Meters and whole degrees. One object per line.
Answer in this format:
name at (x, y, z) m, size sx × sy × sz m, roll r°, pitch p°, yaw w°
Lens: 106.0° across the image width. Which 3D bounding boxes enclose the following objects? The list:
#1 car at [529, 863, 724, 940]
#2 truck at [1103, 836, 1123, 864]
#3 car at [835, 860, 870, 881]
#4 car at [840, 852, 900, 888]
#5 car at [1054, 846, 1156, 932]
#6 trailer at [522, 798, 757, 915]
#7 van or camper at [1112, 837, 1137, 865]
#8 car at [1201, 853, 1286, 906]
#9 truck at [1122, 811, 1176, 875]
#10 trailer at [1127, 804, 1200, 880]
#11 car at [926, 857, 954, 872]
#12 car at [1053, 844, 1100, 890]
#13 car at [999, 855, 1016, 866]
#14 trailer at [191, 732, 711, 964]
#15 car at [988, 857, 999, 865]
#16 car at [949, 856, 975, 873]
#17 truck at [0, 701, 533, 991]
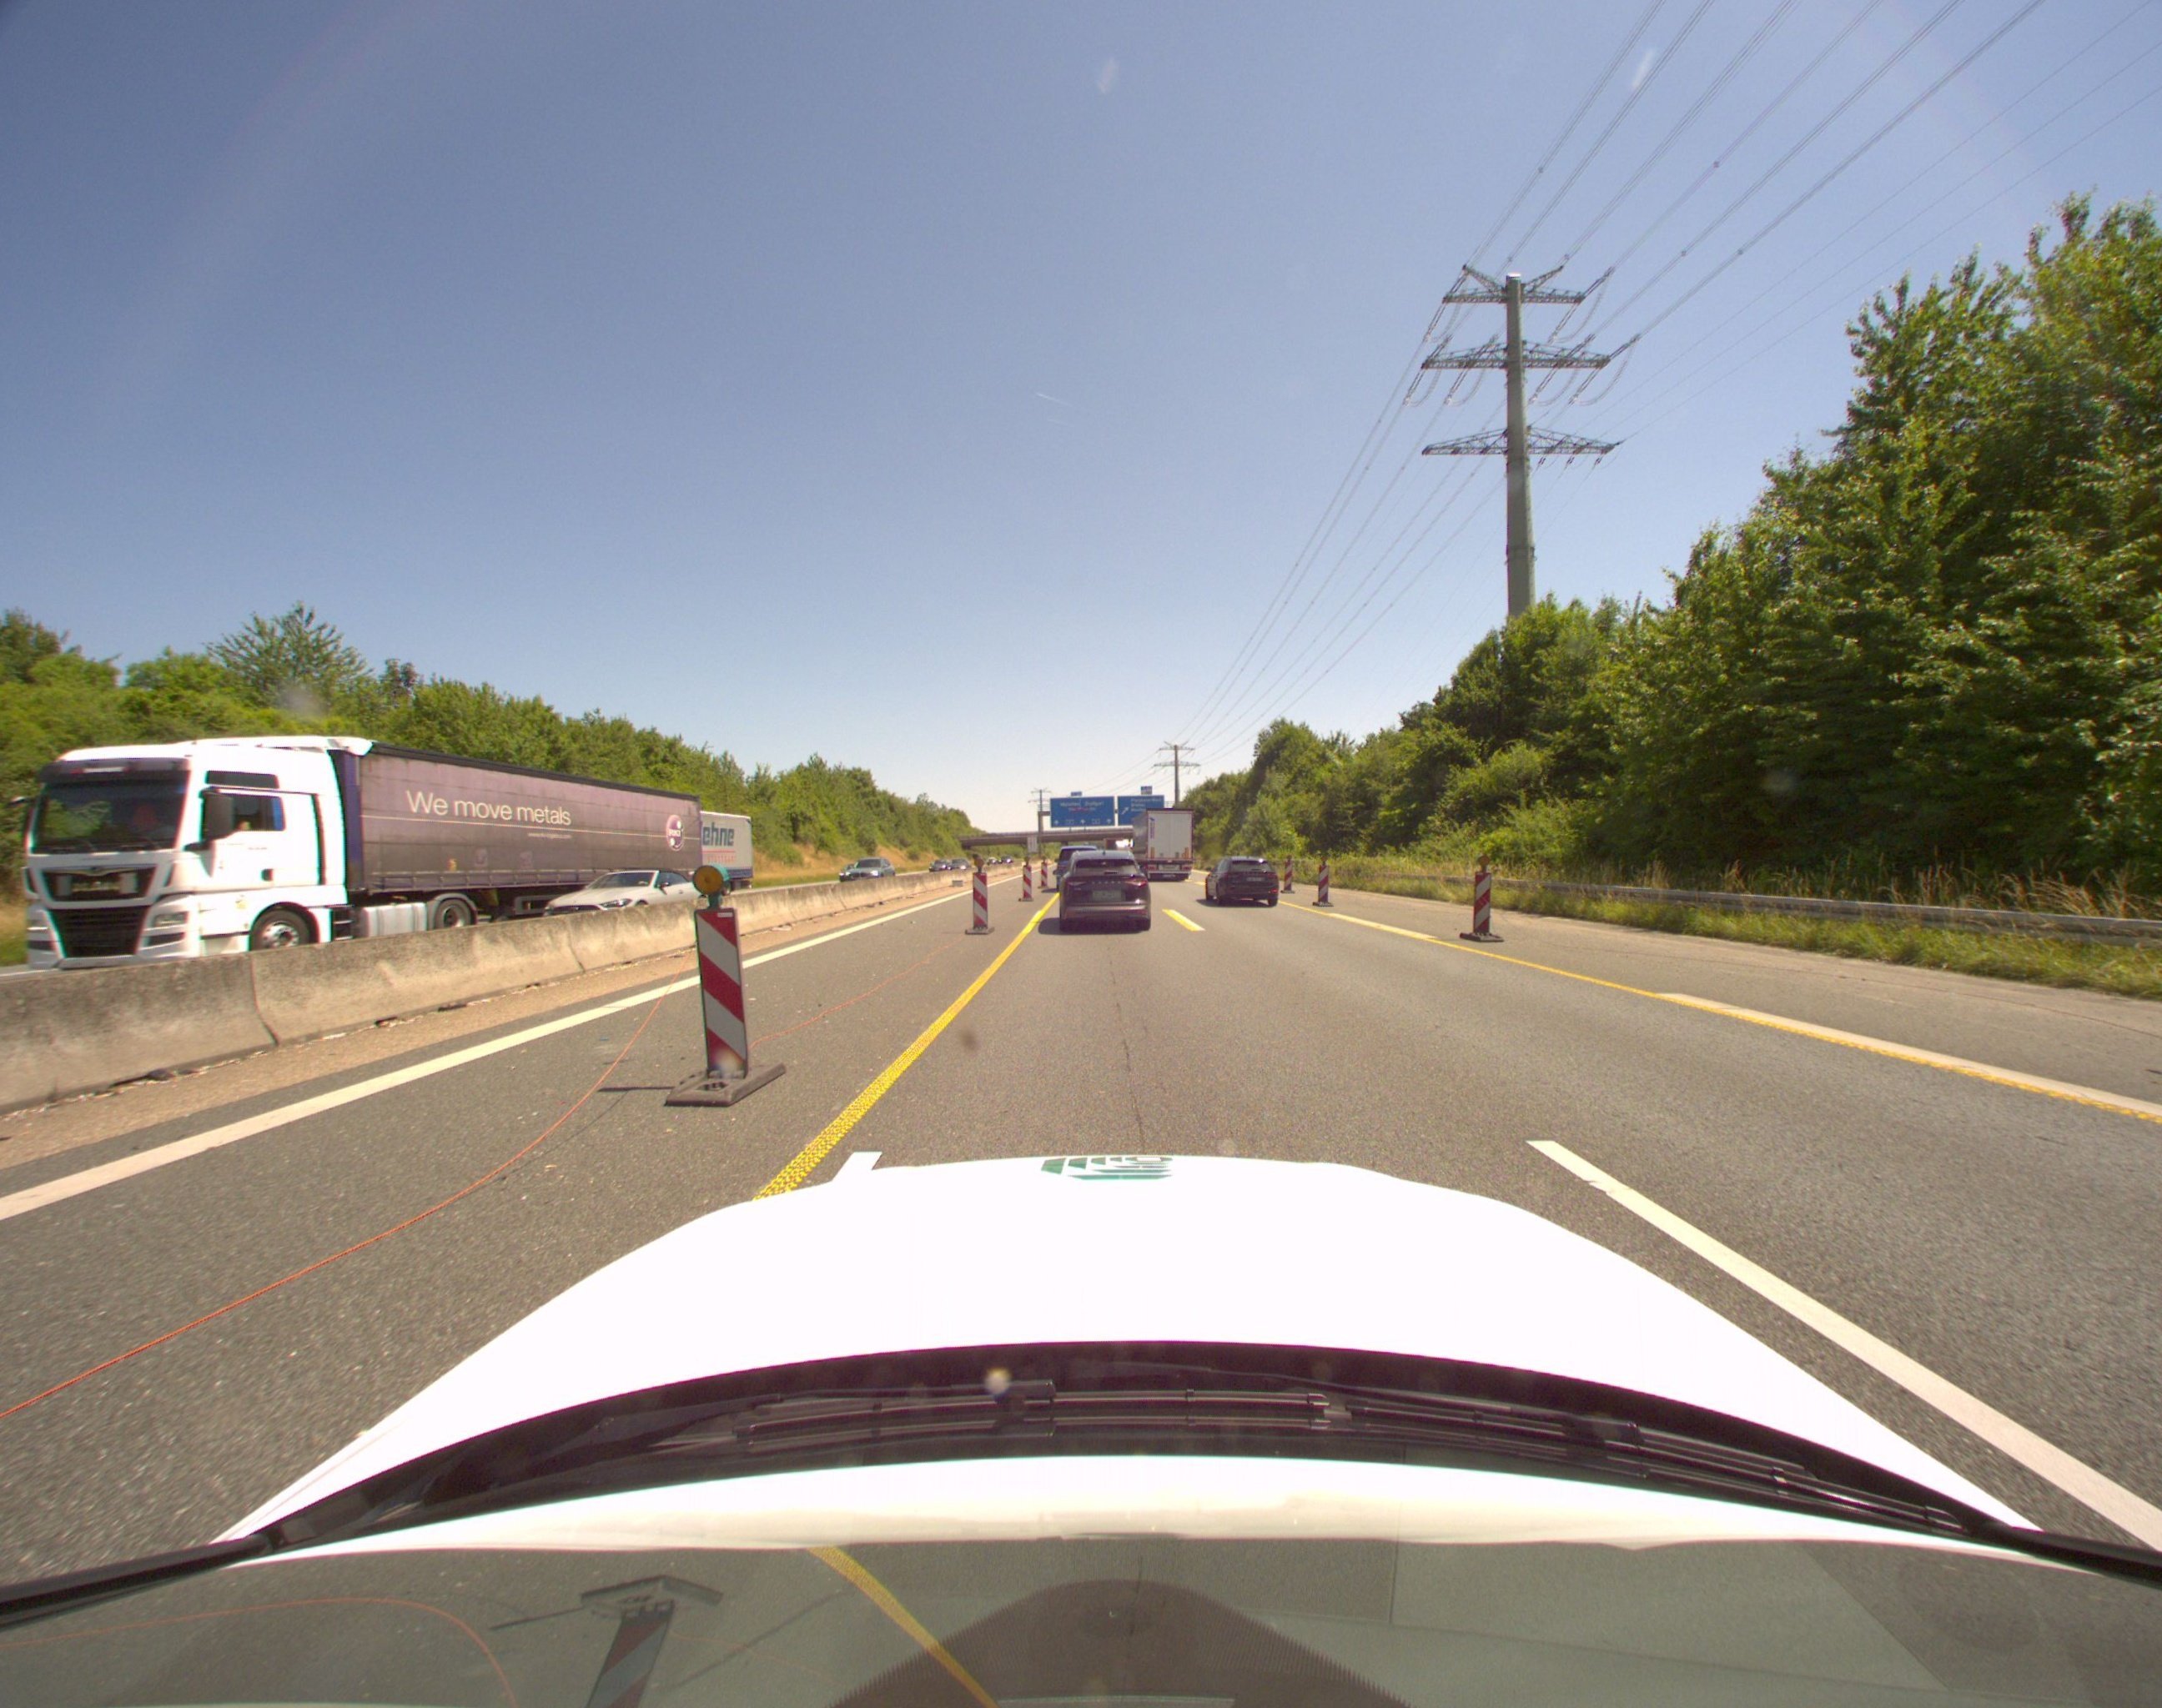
car at (-10.320, 0.999, 18.978) m, size 1.755 × 1.471 × 4.636 m, roll -2°, pitch 0°, yaw 2°
truck at (5.070, -0.613, 129.902) m, size 3.066 × 4.146 × 13.059 m, roll 0°, pitch 0°, yaw 2°
car at (-16.907, 1.203, 60.336) m, size 1.499 × 1.396 × 4.086 m, roll -2°, pitch 0°, yaw -2°
car at (-10.988, 0.795, 42.689) m, size 1.835 × 1.714 × 4.397 m, roll -2°, pitch 0°, yaw 1°
car at (0.445, 0.654, 17.555) m, size 1.890 × 1.592 × 4.441 m, roll -1°, pitch 0°, yaw 0°
trailer at (-18.707, 0.081, 36.351) m, size 2.944 × 4.061 × 13.634 m, roll -3°, pitch 0°, yaw 0°
van or camper at (4.889, -0.316, 92.587) m, size 2.577 × 2.968 × 6.087 m, roll 2°, pitch 0°, yaw 2°
car at (4.927, 0.722, 25.244) m, size 1.773 × 1.489 × 4.464 m, roll 0°, pitch 0°, yaw 0°
truck at (4.608, -0.708, 56.561) m, size 3.016 × 4.087 × 7.792 m, roll 0°, pitch 0°, yaw -1°
trailer at (4.768, -0.643, 49.541) m, size 3.056 × 4.042 × 11.483 m, roll -1°, pitch 0°, yaw -1°
car at (-14.847, 1.125, 86.135) m, size 1.986 × 1.460 × 4.589 m, roll -2°, pitch 0°, yaw 2°
car at (-0.188, 0.549, 34.871) m, size 1.890 × 1.842 × 4.441 m, roll 0°, pitch -1°, yaw 0°
car at (-10.273, 0.909, 113.970) m, size 1.843 × 1.460 × 4.488 m, roll -2°, pitch 0°, yaw 0°
trailer at (-14.728, -0.121, 21.861) m, size 3.150 × 4.180 × 13.683 m, roll -2°, pitch 0°, yaw 0°
car at (-17.660, 1.402, 164.705) m, size 1.568 × 1.464 × 3.779 m, roll -2°, pitch 0°, yaw 1°
car at (-10.743, 0.951, 73.849) m, size 1.610 × 1.442 × 3.992 m, roll -2°, pitch 0°, yaw 2°
truck at (-14.759, -0.126, 15.759) m, size 3.153 × 4.224 × 7.414 m, roll -2°, pitch 0°, yaw 0°
